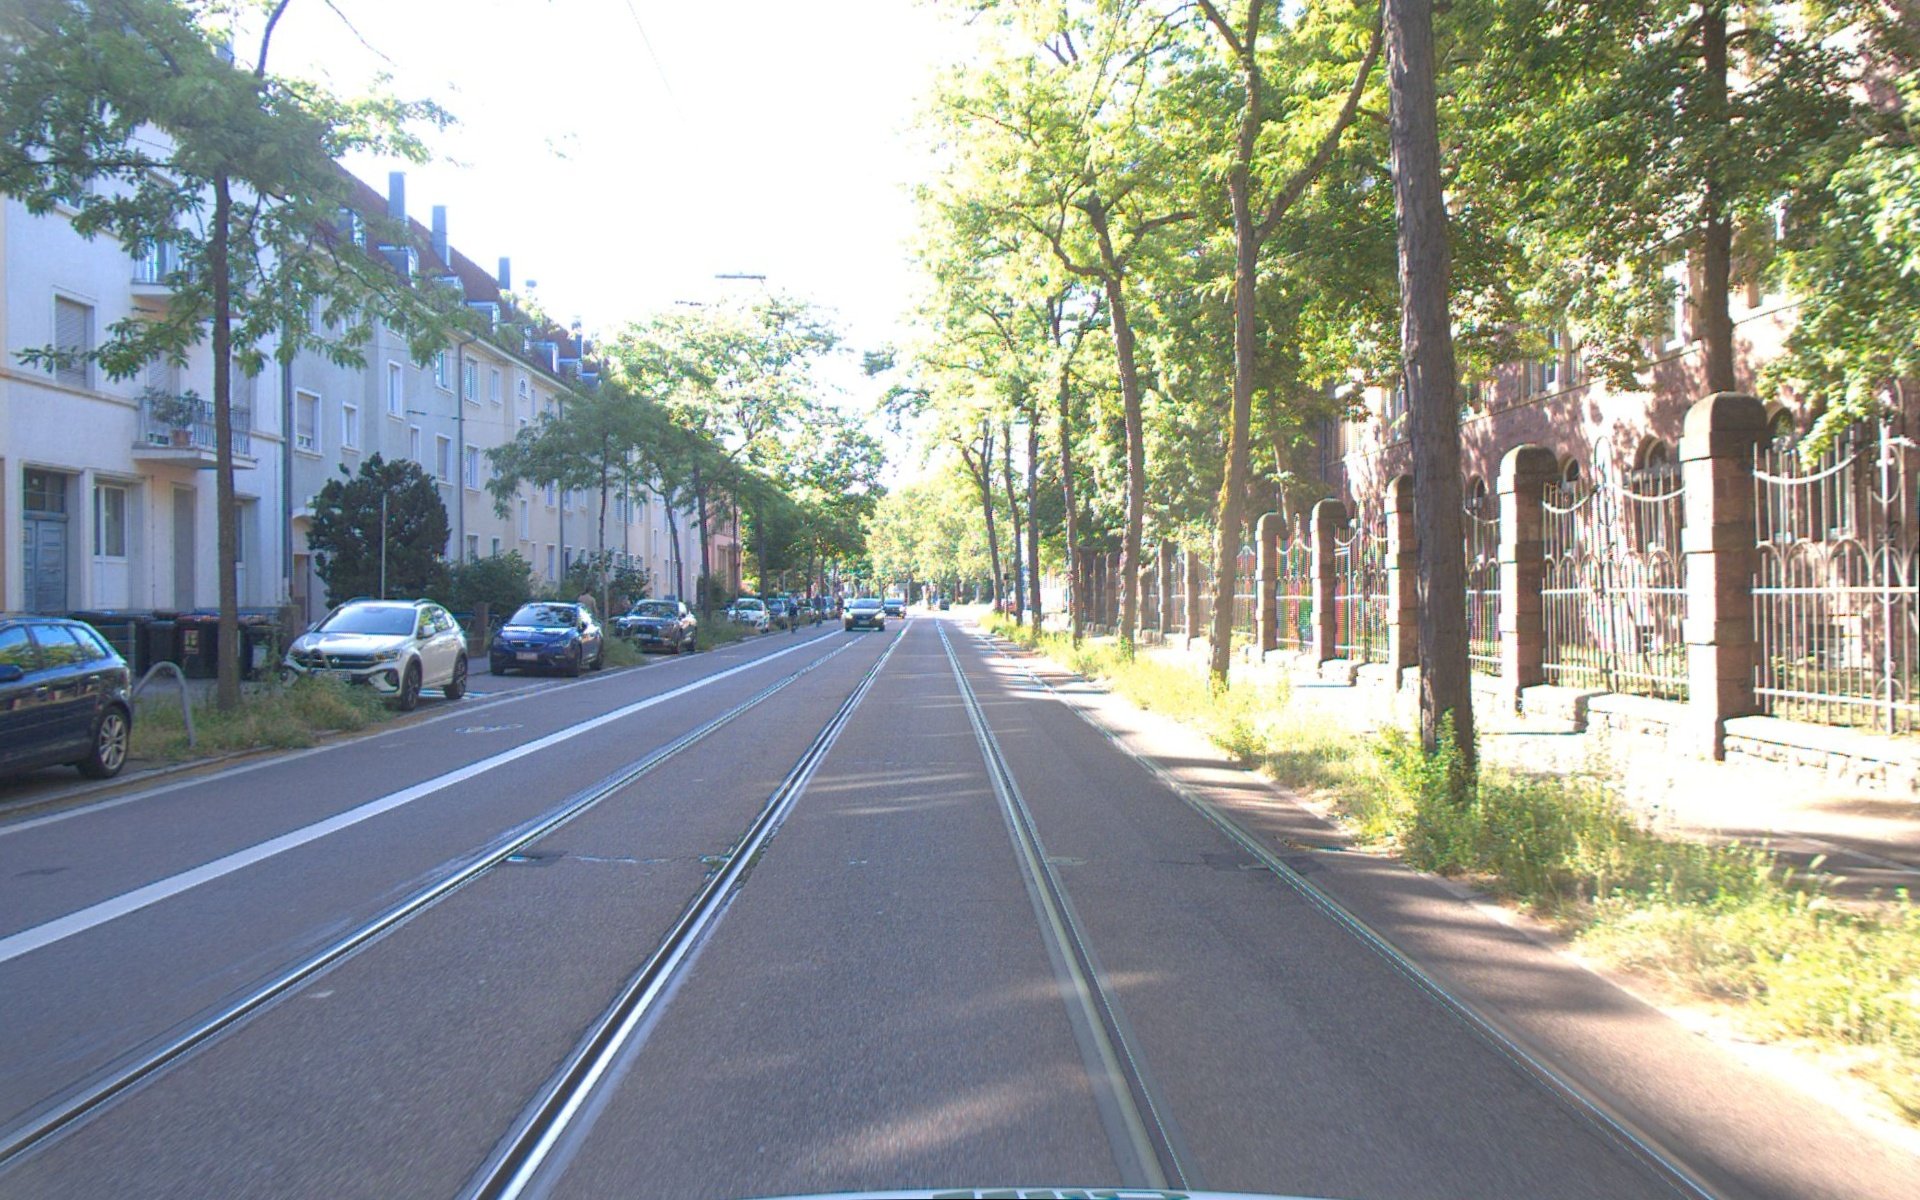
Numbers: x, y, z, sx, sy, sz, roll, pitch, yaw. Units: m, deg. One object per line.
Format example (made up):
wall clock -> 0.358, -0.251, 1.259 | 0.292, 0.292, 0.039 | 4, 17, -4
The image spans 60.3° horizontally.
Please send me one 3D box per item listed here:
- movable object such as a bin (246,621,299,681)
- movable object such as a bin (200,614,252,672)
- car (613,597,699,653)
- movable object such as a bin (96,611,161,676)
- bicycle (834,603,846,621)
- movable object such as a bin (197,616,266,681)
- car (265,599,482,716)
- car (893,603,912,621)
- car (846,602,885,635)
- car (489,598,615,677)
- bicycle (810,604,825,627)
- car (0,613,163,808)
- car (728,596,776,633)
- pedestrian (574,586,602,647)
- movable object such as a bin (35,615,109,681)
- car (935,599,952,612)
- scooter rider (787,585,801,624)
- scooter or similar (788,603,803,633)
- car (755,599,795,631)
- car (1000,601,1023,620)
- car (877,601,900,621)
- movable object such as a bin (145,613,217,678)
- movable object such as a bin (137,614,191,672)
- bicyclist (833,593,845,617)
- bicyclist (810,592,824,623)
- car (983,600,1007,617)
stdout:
movable object such as a bin -> -11.766, 0.870, 28.307 | 0.548, 0.993, 0.733 | 2, 0, 2
movable object such as a bin -> -13.006, 0.748, 29.308 | 0.548, 0.993, 0.733 | 2, 0, 2
car -> -8.771, 0.697, 47.984 | 1.780, 1.511, 4.205 | 1, 0, -1
movable object such as a bin -> -14.151, 0.738, 28.165 | 0.693, 1.064, 0.733 | 2, 0, 2
bicycle -> -8.267, 0.819, 113.725 | 0.680, 1.198, 1.912 | -3, 0, -1
movable object such as a bin -> -12.467, 0.823, 28.322 | 0.827, 1.064, 0.733 | 2, 0, 2
car -> -8.541, 0.774, 24.499 | 1.780, 1.537, 4.369 | 1, 0, -2
car -> -5.045, 1.057, 145.753 | 1.665, 1.497, 4.069 | 0, 0, -2
car -> -4.312, 0.830, 76.006 | 1.722, 1.464, 4.521 | 0, 0, -2
car -> -8.557, 0.740, 35.042 | 1.722, 1.537, 4.436 | 1, 0, -2
bicycle -> -7.714, 0.810, 89.469 | 0.614, 1.198, 1.912 | -3, 0, -1
car -> -8.145, 0.853, 13.107 | 1.671, 1.431, 4.332 | 1, 0, -2
car -> -9.277, 0.628, 74.142 | 1.668, 1.511, 4.078 | 2, 0, -1
pedestrian -> -11.372, 0.508, 50.564 | 0.677, 1.833, 0.813 | -1, 0, -1
movable object such as a bin -> -15.054, 0.803, 28.054 | 0.827, 1.064, 0.733 | 2, 0, 2
car -> -2.204, 0.753, 219.040 | 1.905, 1.638, 3.994 | 0, 0, -7
scooter rider -> -7.564, 0.213, 75.538 | 0.486, 1.729, 0.786 | -3, 0, -1
scooter or similar -> -7.523, 0.817, 75.573 | 0.510, 1.320, 1.377 | -3, 0, -1
car -> -9.240, 0.722, 82.792 | 1.653, 1.511, 3.758 | 2, 0, -2
car -> 4.778, 0.981, 153.742 | 1.802, 1.684, 3.577 | 0, 0, -3
car -> -5.343, 0.827, 123.330 | 1.665, 1.464, 4.069 | 0, 0, -2
movable object such as a bin -> -13.316, 0.777, 28.291 | 0.827, 1.064, 0.733 | 2, 0, 2
movable object such as a bin -> -14.090, 0.756, 29.289 | 0.548, 0.993, 0.733 | 2, 0, 2
bicyclist -> -8.285, 0.336, 113.670 | 0.695, 1.635, 0.865 | -3, 0, -1
bicyclist -> -7.735, 0.408, 89.442 | 0.613, 1.667, 0.940 | -3, 0, -1
car -> 3.474, 0.849, 165.642 | 1.905, 1.638, 3.994 | 0, 0, -6
